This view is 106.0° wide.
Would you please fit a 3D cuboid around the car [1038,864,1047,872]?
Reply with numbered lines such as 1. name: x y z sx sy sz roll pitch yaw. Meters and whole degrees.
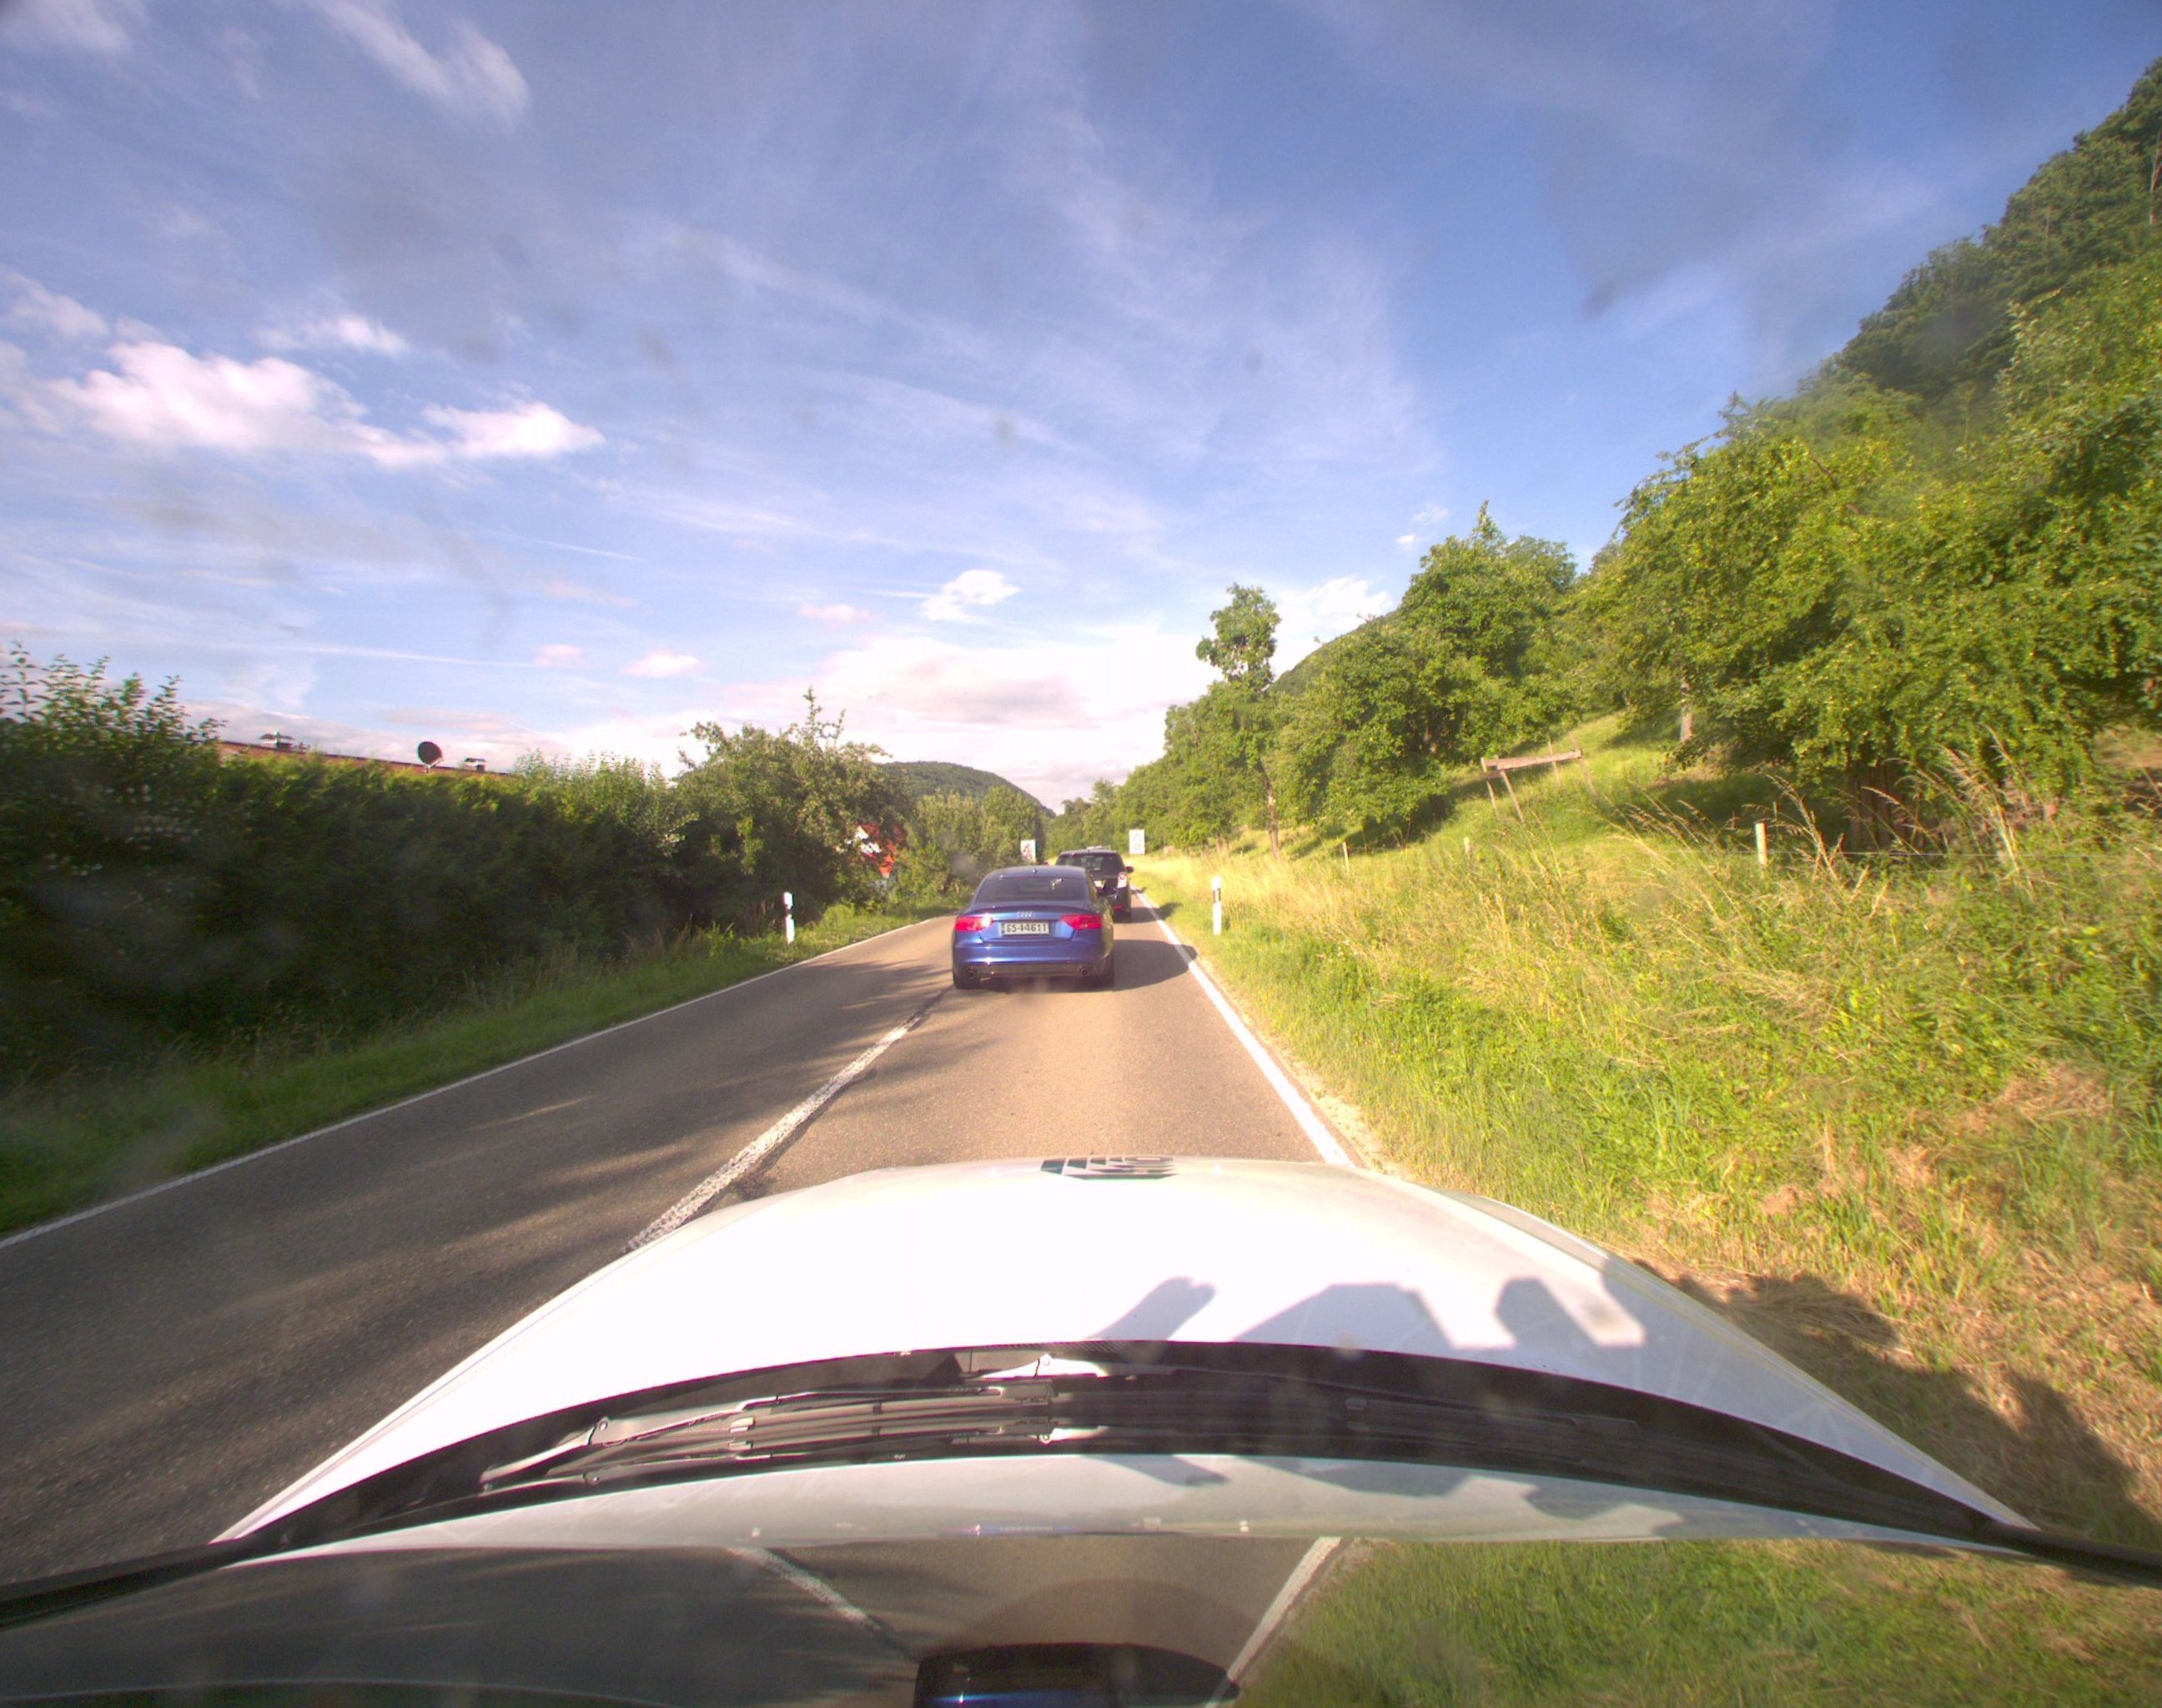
1. car: -8.125 2.925 171.610 1.559 1.496 3.764 0 0 -11

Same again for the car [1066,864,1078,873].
1. car: -1.540 2.416 137.248 1.557 1.496 3.769 0 0 -7

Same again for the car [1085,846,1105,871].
1. car: 1.373 0.450 81.673 1.787 2.453 3.917 0 0 -1

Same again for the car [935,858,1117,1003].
1. car: -0.480 0.781 10.305 1.799 1.382 4.217 -1 0 2

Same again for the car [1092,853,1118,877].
1. car: 1.655 0.734 56.436 1.686 1.624 3.790 -1 0 1

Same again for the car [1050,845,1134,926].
1. car: 0.269 0.646 18.558 1.686 1.624 3.790 -1 0 1

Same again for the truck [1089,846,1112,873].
1. truck: 1.710 0.483 71.648 1.943 2.345 5.094 0 0 1
